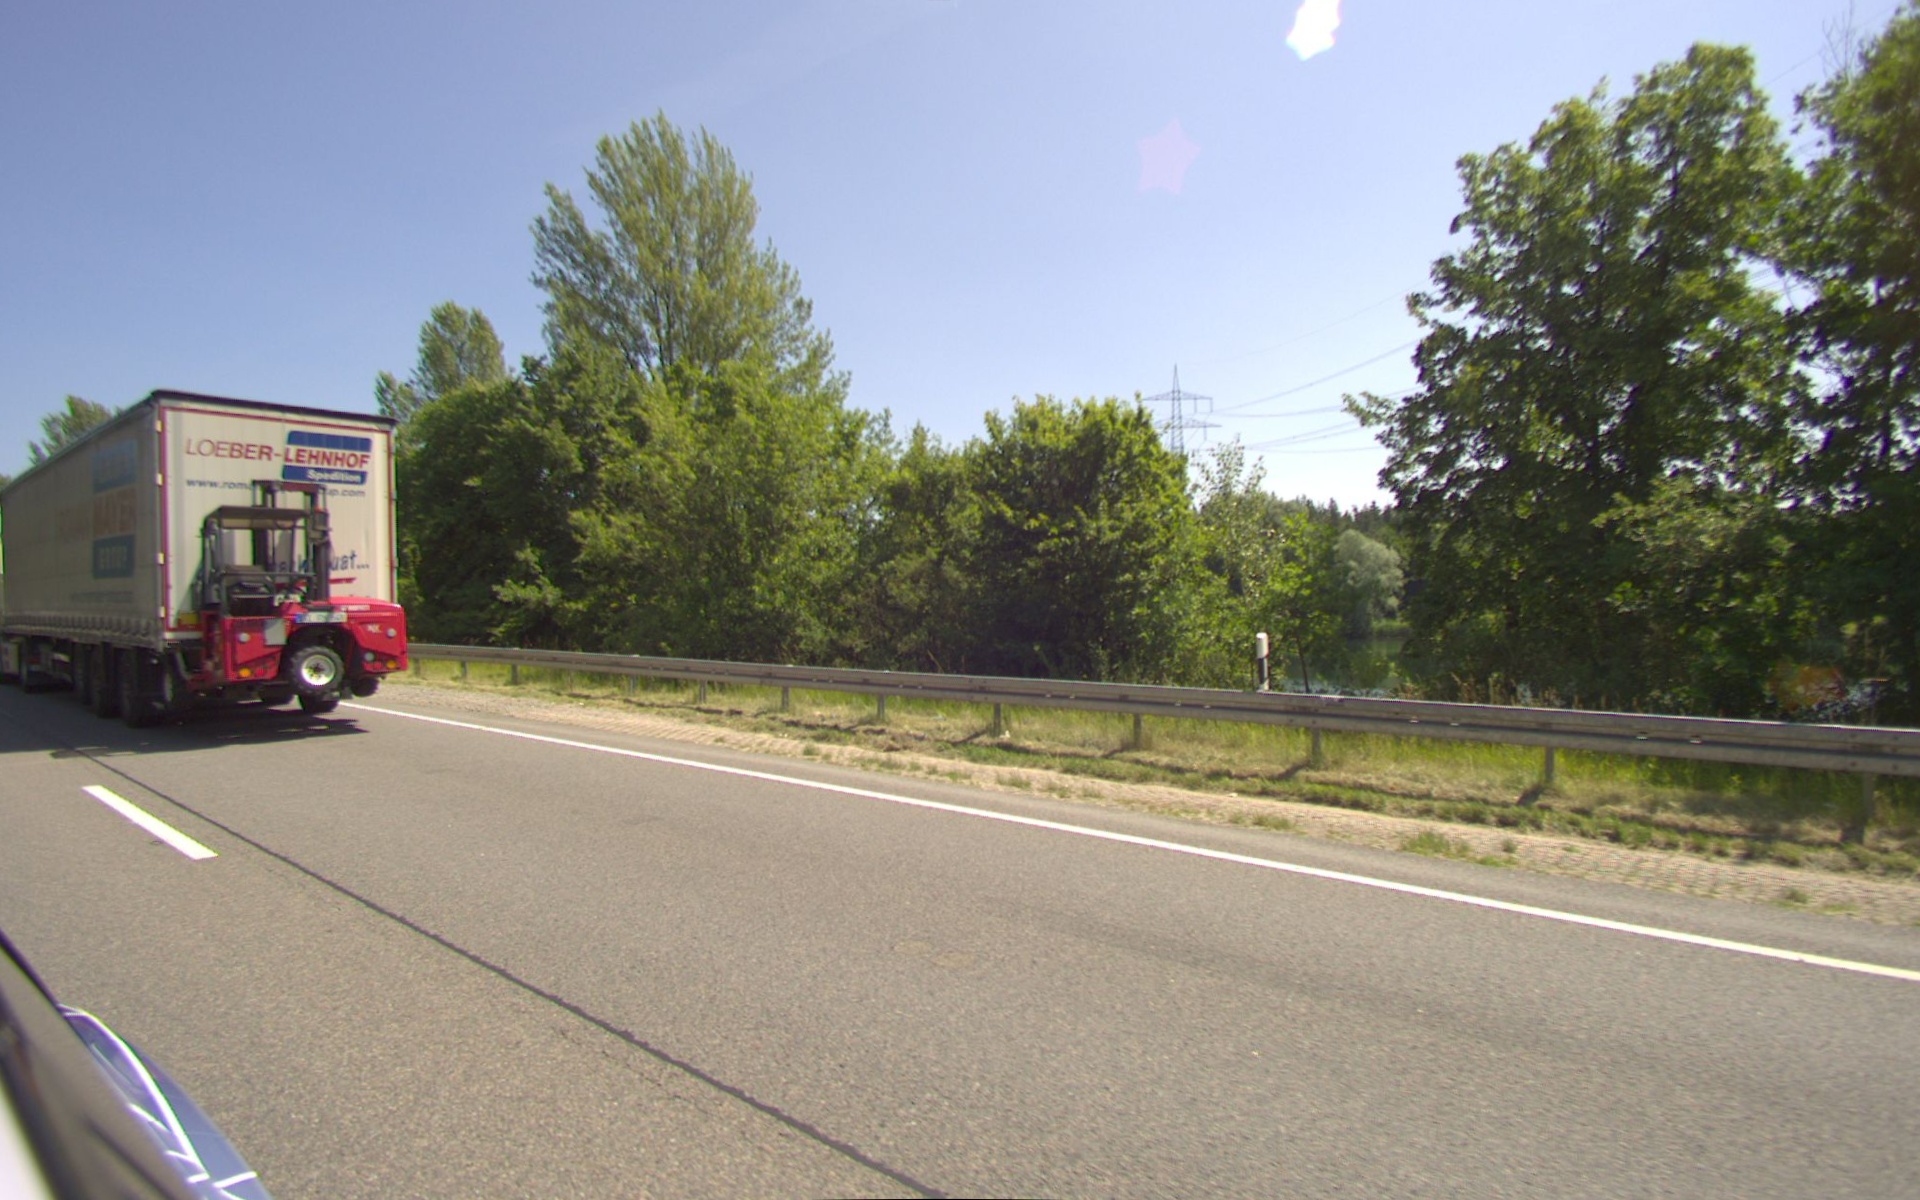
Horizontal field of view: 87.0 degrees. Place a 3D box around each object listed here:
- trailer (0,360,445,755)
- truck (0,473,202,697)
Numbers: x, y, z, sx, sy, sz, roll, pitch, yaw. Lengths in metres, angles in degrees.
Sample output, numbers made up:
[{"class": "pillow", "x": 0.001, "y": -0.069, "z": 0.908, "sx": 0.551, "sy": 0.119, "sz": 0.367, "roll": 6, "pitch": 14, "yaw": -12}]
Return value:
[{"class": "trailer", "x": -12.353, "y": -0.343, "z": 15.884, "sx": 13.680, "sy": 4.029, "sz": 2.734, "roll": -1, "pitch": 0, "yaw": 41}, {"class": "truck", "x": -18.281, "y": -0.235, "z": 21.145, "sx": 5.904, "sy": 4.029, "sz": 2.734, "roll": -1, "pitch": 0, "yaw": 41}]
